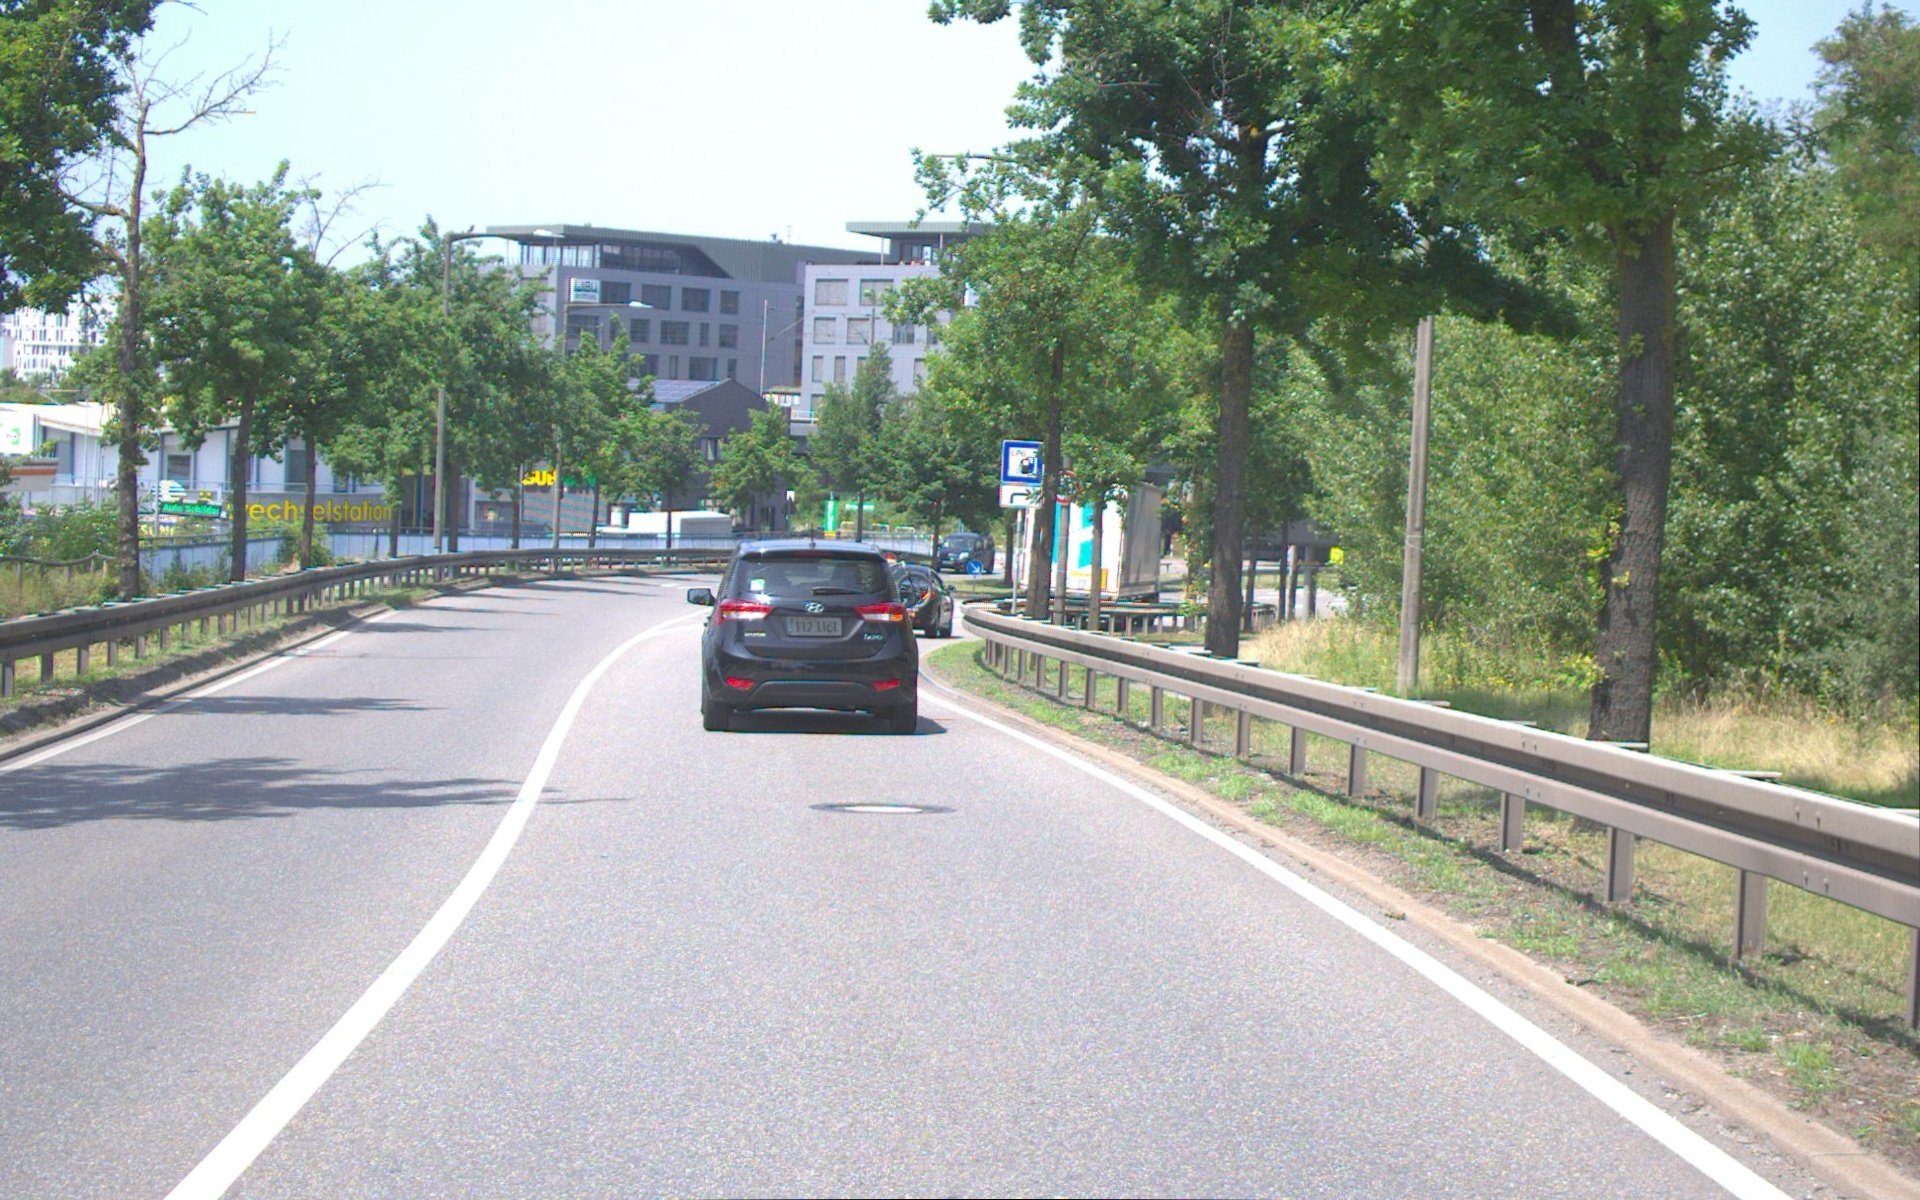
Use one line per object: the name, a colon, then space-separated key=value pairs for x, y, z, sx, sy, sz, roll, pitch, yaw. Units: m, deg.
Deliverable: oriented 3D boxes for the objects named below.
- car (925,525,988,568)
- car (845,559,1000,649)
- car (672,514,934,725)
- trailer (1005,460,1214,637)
car: x=-0.126 y=-2.422 z=155.756 sx=1.808 sy=1.753 sz=4.249 roll=4 pitch=1 yaw=13
car: x=-0.699 y=0.060 z=67.731 sx=1.958 sy=1.628 sz=4.277 roll=2 pitch=1 yaw=14
car: x=-1.418 y=0.112 z=29.502 sx=1.766 sy=1.593 sz=4.079 roll=3 pitch=1 yaw=-8
trailer: x=4.341 y=-1.543 z=94.893 sx=3.080 sy=4.353 sz=14.767 roll=3 pitch=2 yaw=12
